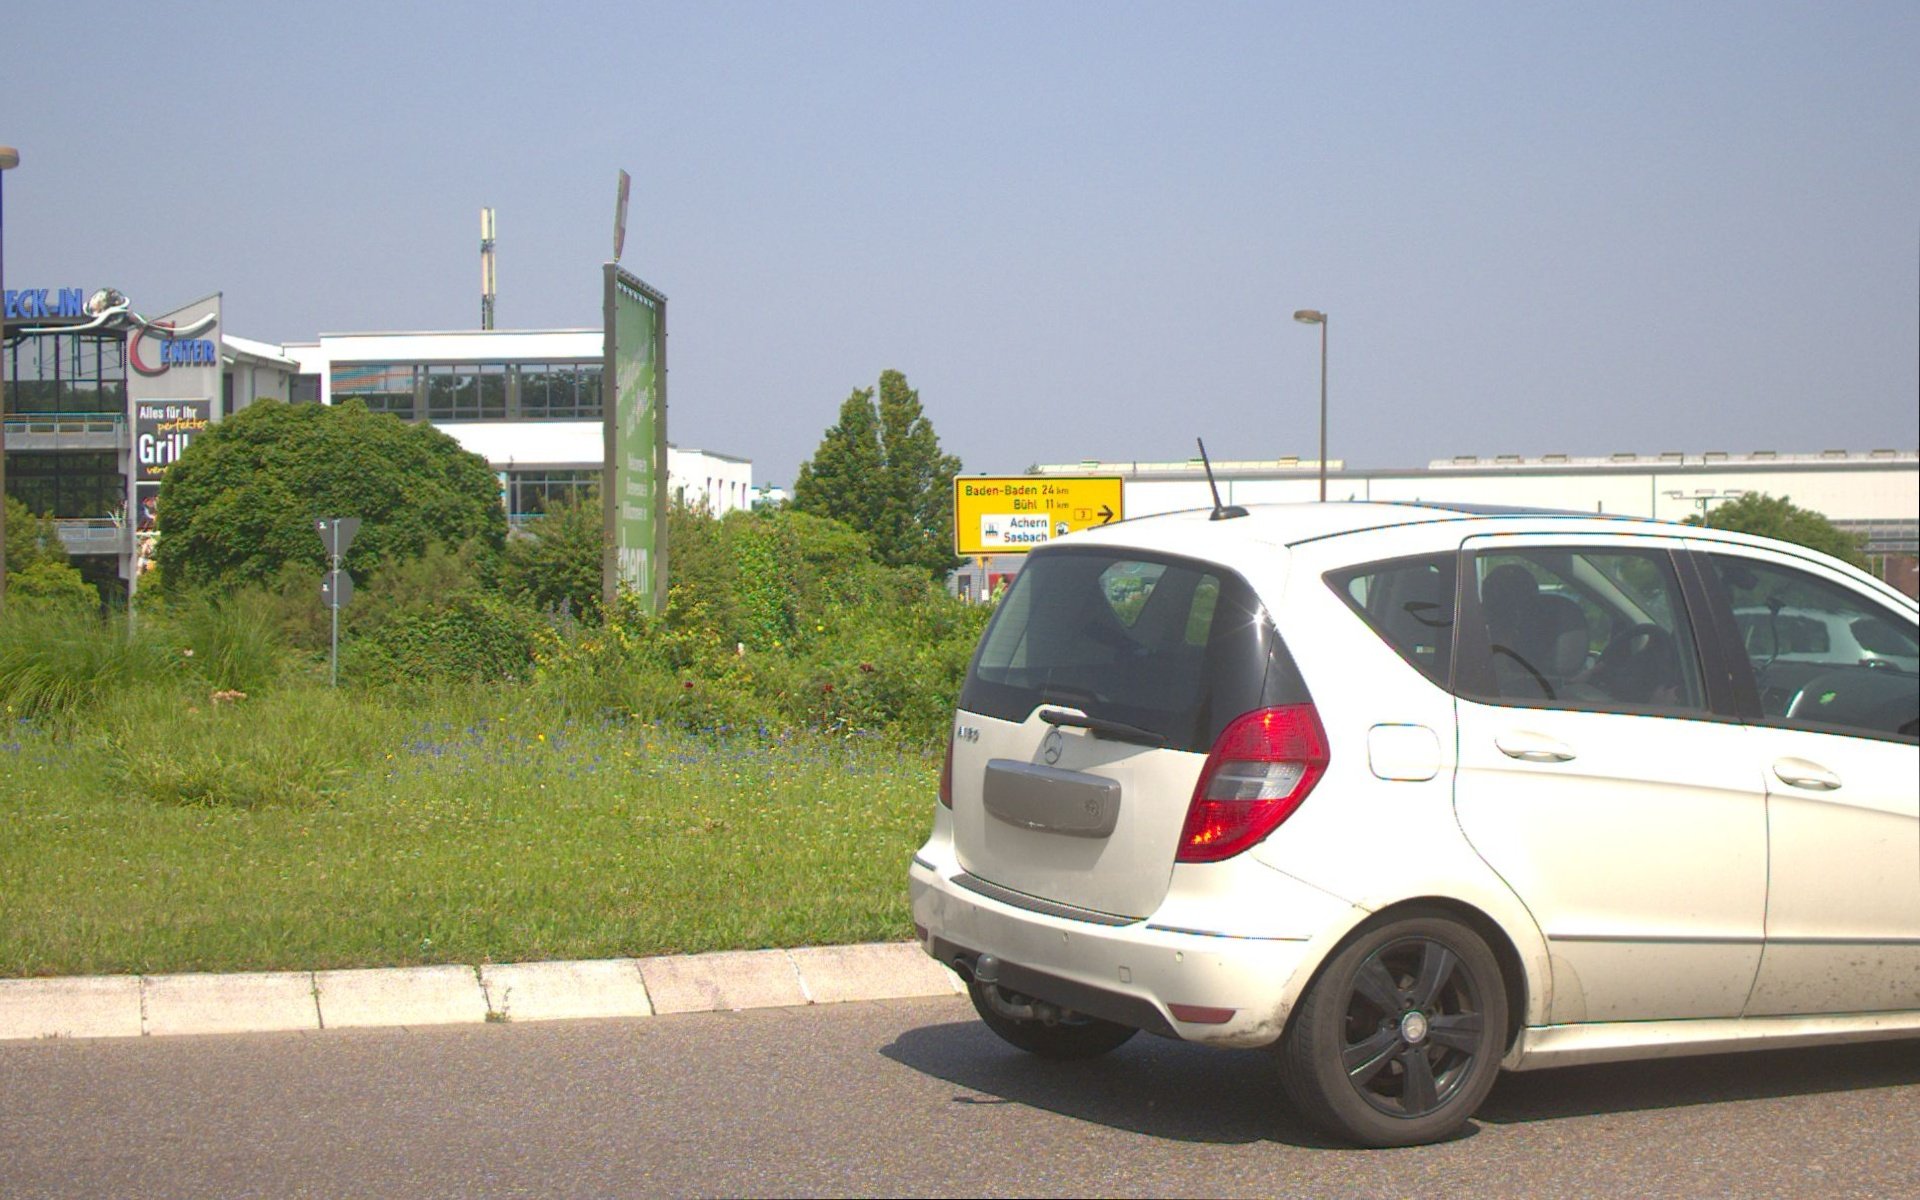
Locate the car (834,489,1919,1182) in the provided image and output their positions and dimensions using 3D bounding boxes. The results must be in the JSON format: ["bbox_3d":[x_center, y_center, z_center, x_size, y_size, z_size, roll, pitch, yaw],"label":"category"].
[{"bbox_3d":[1.792,0.518,9.598,3.880,1.598,1.787,0,1,-27],"label":"car"}]

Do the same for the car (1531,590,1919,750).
[{"bbox_3d":[8.089,0.700,35.077,4.079,1.525,1.782,1,-1,30],"label":"car"}]

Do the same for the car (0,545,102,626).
[{"bbox_3d":[-19.130,-0.281,69.111,3.314,1.569,1.555,0,-2,15],"label":"car"}]

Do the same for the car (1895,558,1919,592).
[{"bbox_3d":[43.198,-1.086,153.643,1.996,1.393,3.994,1,-1,26],"label":"car"}]
